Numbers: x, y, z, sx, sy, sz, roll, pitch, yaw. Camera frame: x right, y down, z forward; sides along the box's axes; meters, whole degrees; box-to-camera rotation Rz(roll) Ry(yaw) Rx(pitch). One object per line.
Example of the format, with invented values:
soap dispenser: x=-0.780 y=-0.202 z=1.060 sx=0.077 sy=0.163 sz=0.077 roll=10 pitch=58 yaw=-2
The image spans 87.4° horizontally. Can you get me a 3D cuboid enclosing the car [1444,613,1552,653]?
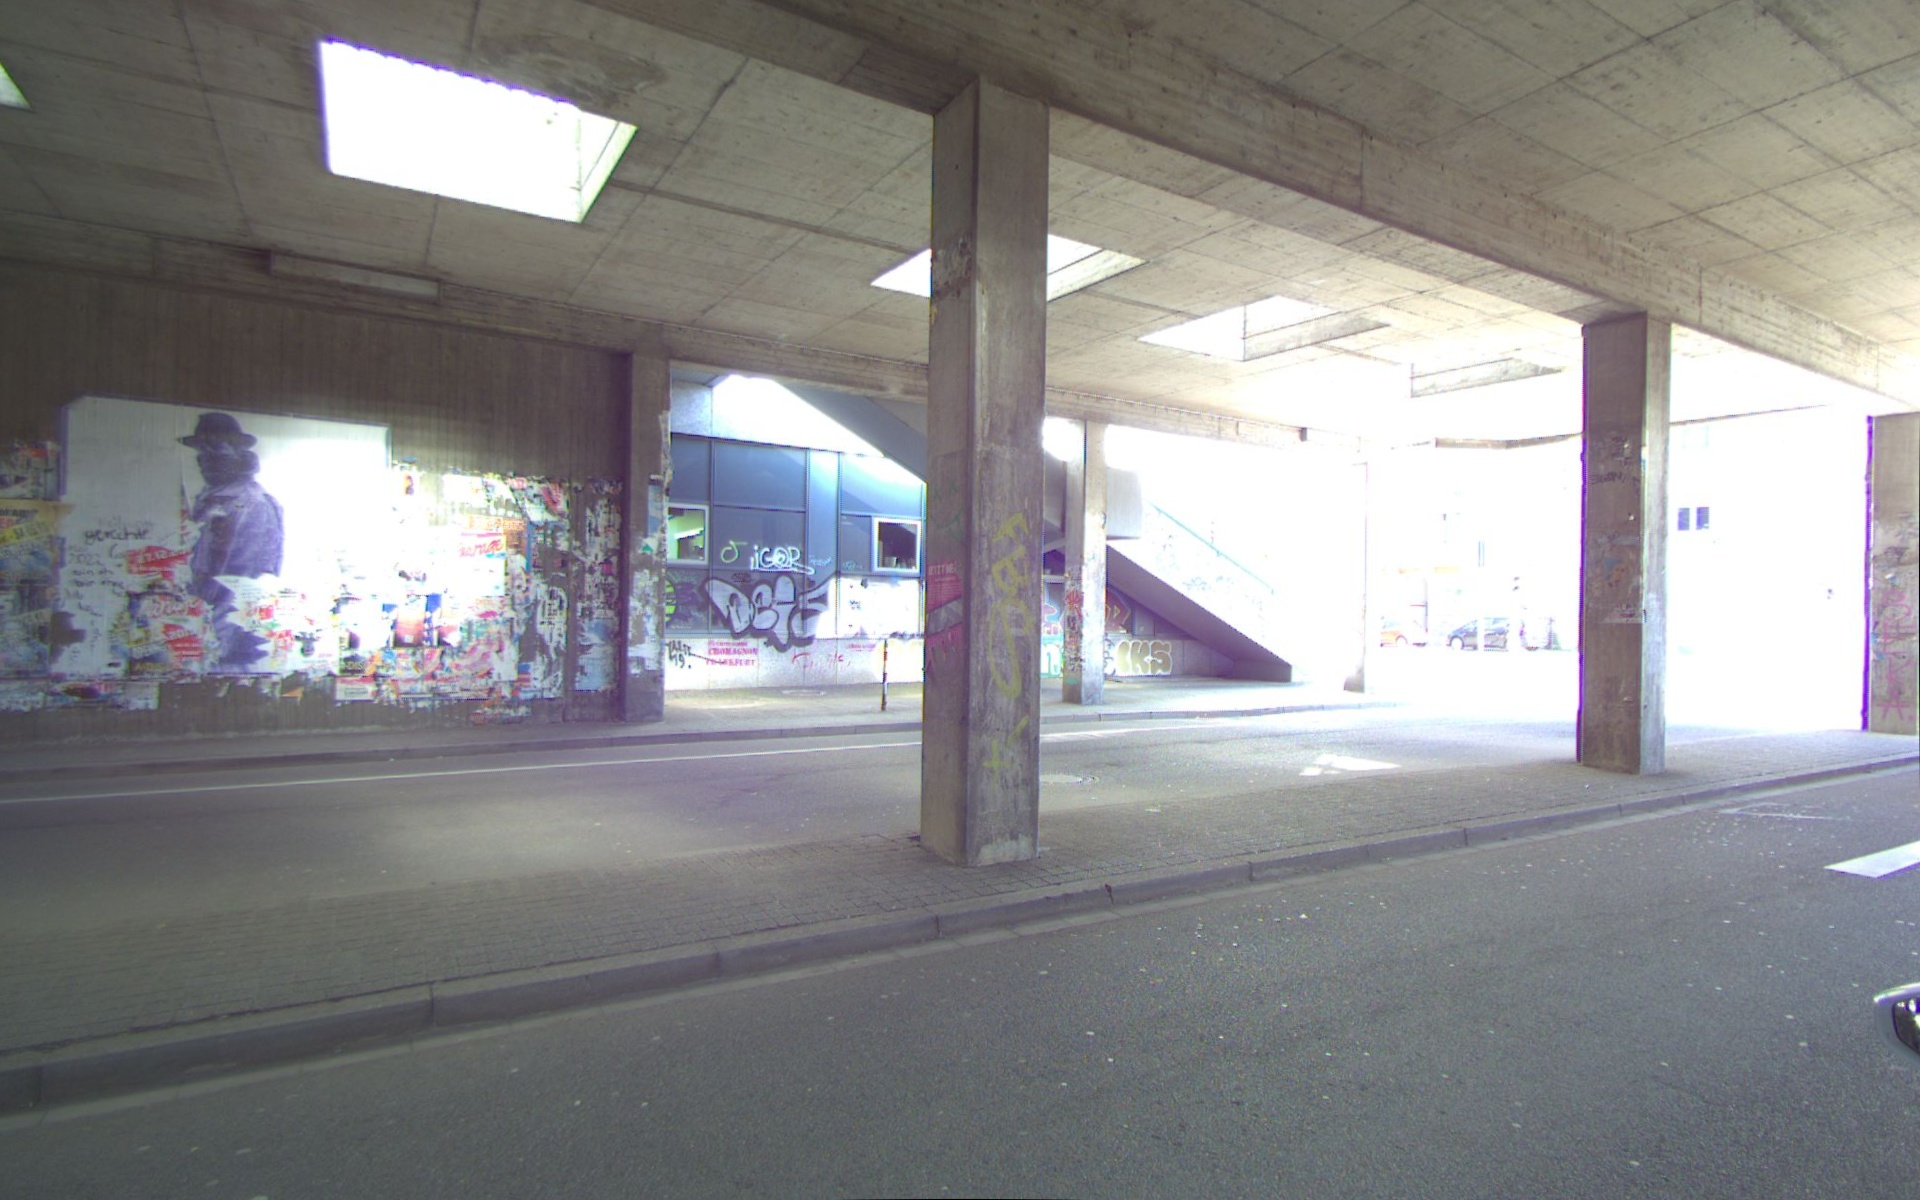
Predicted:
car: x=25.473 y=1.527 z=47.692 sx=1.939 sy=1.747 sz=4.142 roll=0 pitch=0 yaw=-29

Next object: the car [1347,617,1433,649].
car: x=22.485 y=1.687 z=52.635 sx=1.876 sy=1.561 sz=3.861 roll=0 pitch=0 yaw=-29
